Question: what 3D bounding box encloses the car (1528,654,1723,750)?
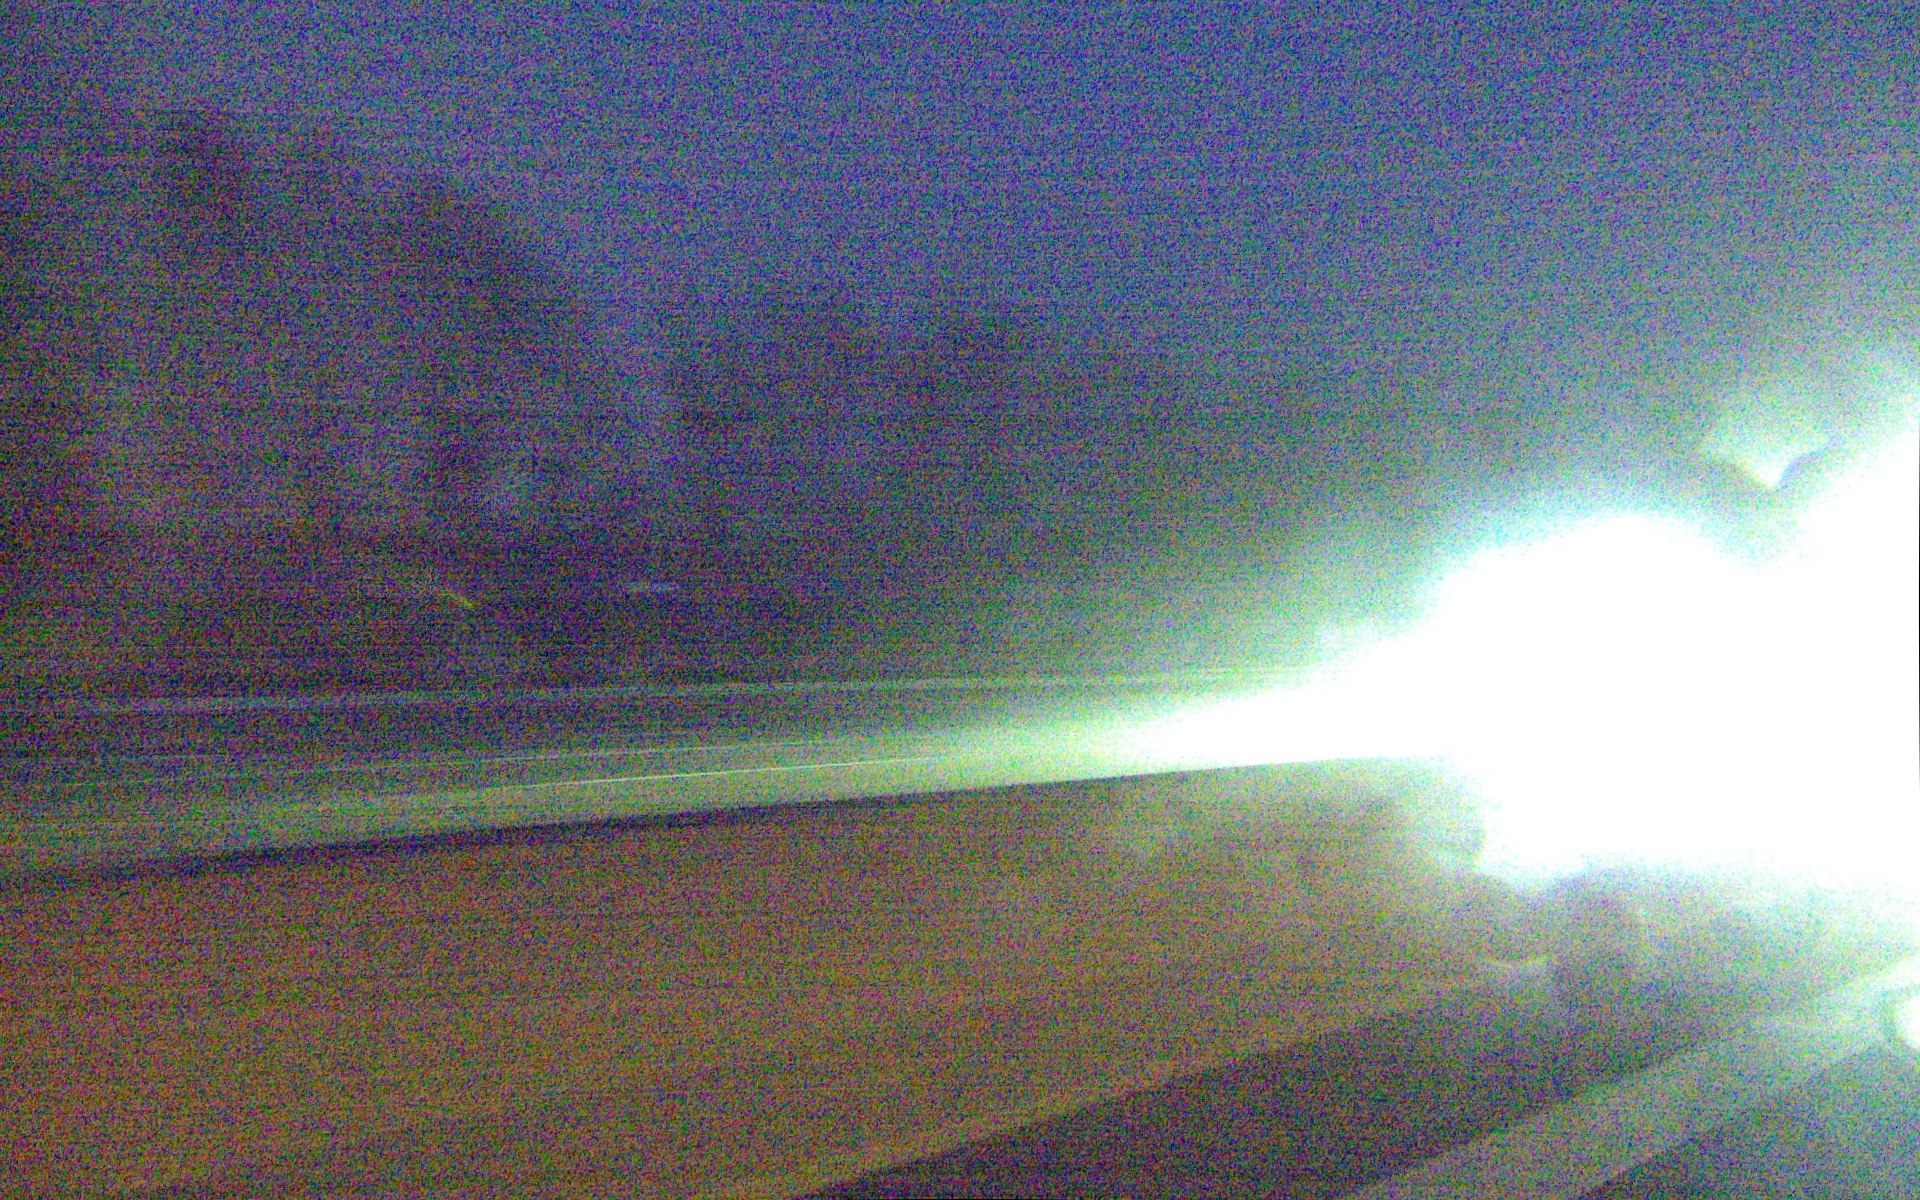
[{"bbox_3d":[15.785,2.319,23.762,4.904,1.784,1.983,0,1,-32],"label":"car"}]
